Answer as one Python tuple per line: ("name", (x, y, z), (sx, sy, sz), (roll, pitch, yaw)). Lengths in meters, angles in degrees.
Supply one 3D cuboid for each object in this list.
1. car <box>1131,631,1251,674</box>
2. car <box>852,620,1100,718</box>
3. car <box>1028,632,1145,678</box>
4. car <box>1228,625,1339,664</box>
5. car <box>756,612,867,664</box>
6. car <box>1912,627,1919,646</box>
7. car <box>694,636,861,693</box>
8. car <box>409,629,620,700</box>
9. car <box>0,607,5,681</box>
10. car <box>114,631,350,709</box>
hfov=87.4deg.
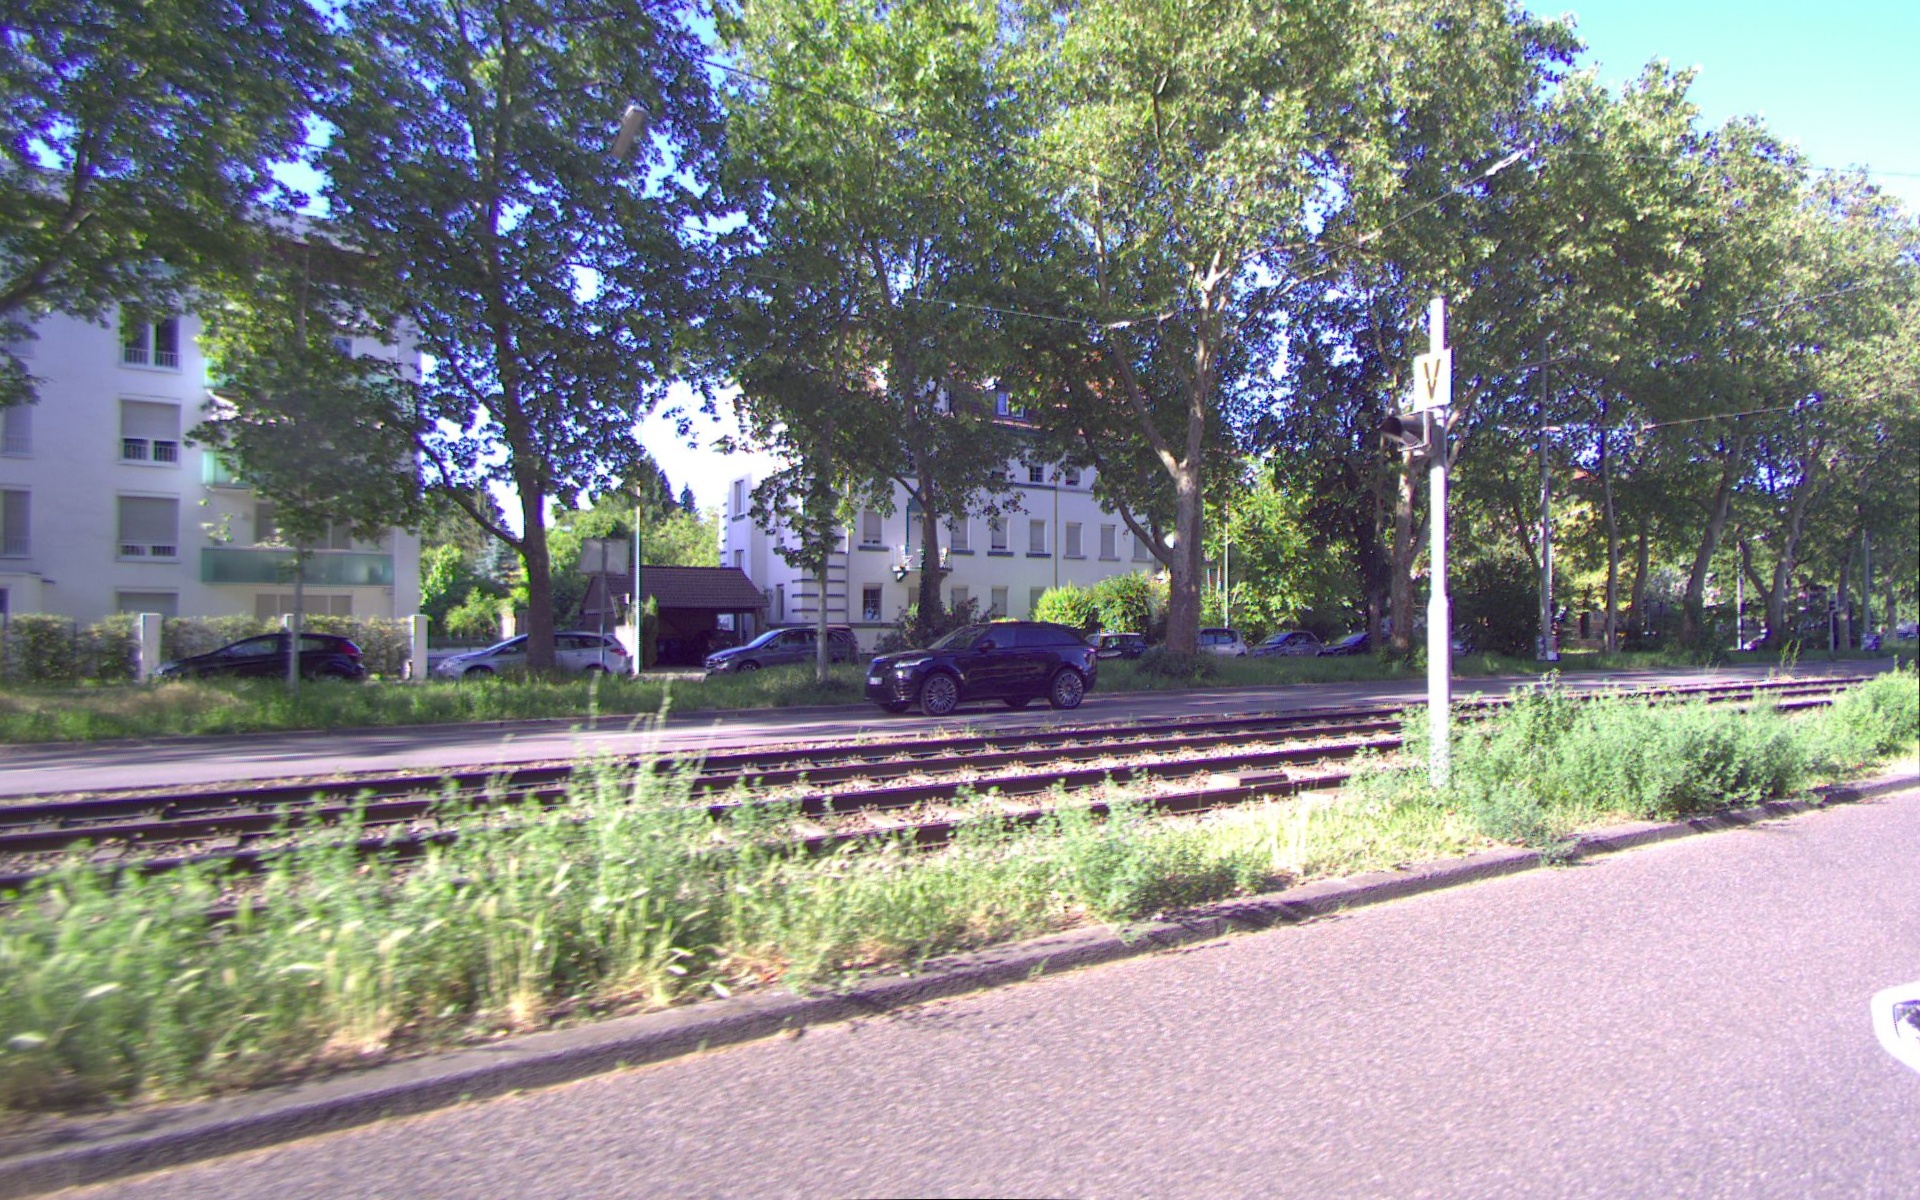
("car", (8.421, 1.867, 36.586), (4.268, 1.459, 1.727), (1, -2, -30))
("car", (0.344, 1.253, 18.953), (4.411, 1.669, 1.848), (1, -4, -32))
("car", (4.287, 1.824, 34.063), (3.654, 1.484, 1.767), (1, -2, -30))
("car", (12.653, 1.708, 39.203), (4.268, 1.460, 1.776), (1, -2, -30))
("car", (-5.615, 1.408, 38.128), (3.778, 1.884, 1.839), (1, -1, -32))
("car", (77.500, 2.897, 79.853), (4.099, 1.529, 1.660), (1, -1, -32))
("car", (-5.176, 1.785, 28.559), (4.268, 1.472, 1.984), (1, -2, -30))
("car", (-10.994, 1.533, 24.863), (4.601, 1.612, 1.984), (1, -2, -30))
("car", (-20.721, 0.847, 18.670), (3.953, 1.492, 1.788), (1, -2, -31))
("car", (-15.674, 1.458, 21.931), (3.953, 1.553, 1.984), (1, -2, -30))
